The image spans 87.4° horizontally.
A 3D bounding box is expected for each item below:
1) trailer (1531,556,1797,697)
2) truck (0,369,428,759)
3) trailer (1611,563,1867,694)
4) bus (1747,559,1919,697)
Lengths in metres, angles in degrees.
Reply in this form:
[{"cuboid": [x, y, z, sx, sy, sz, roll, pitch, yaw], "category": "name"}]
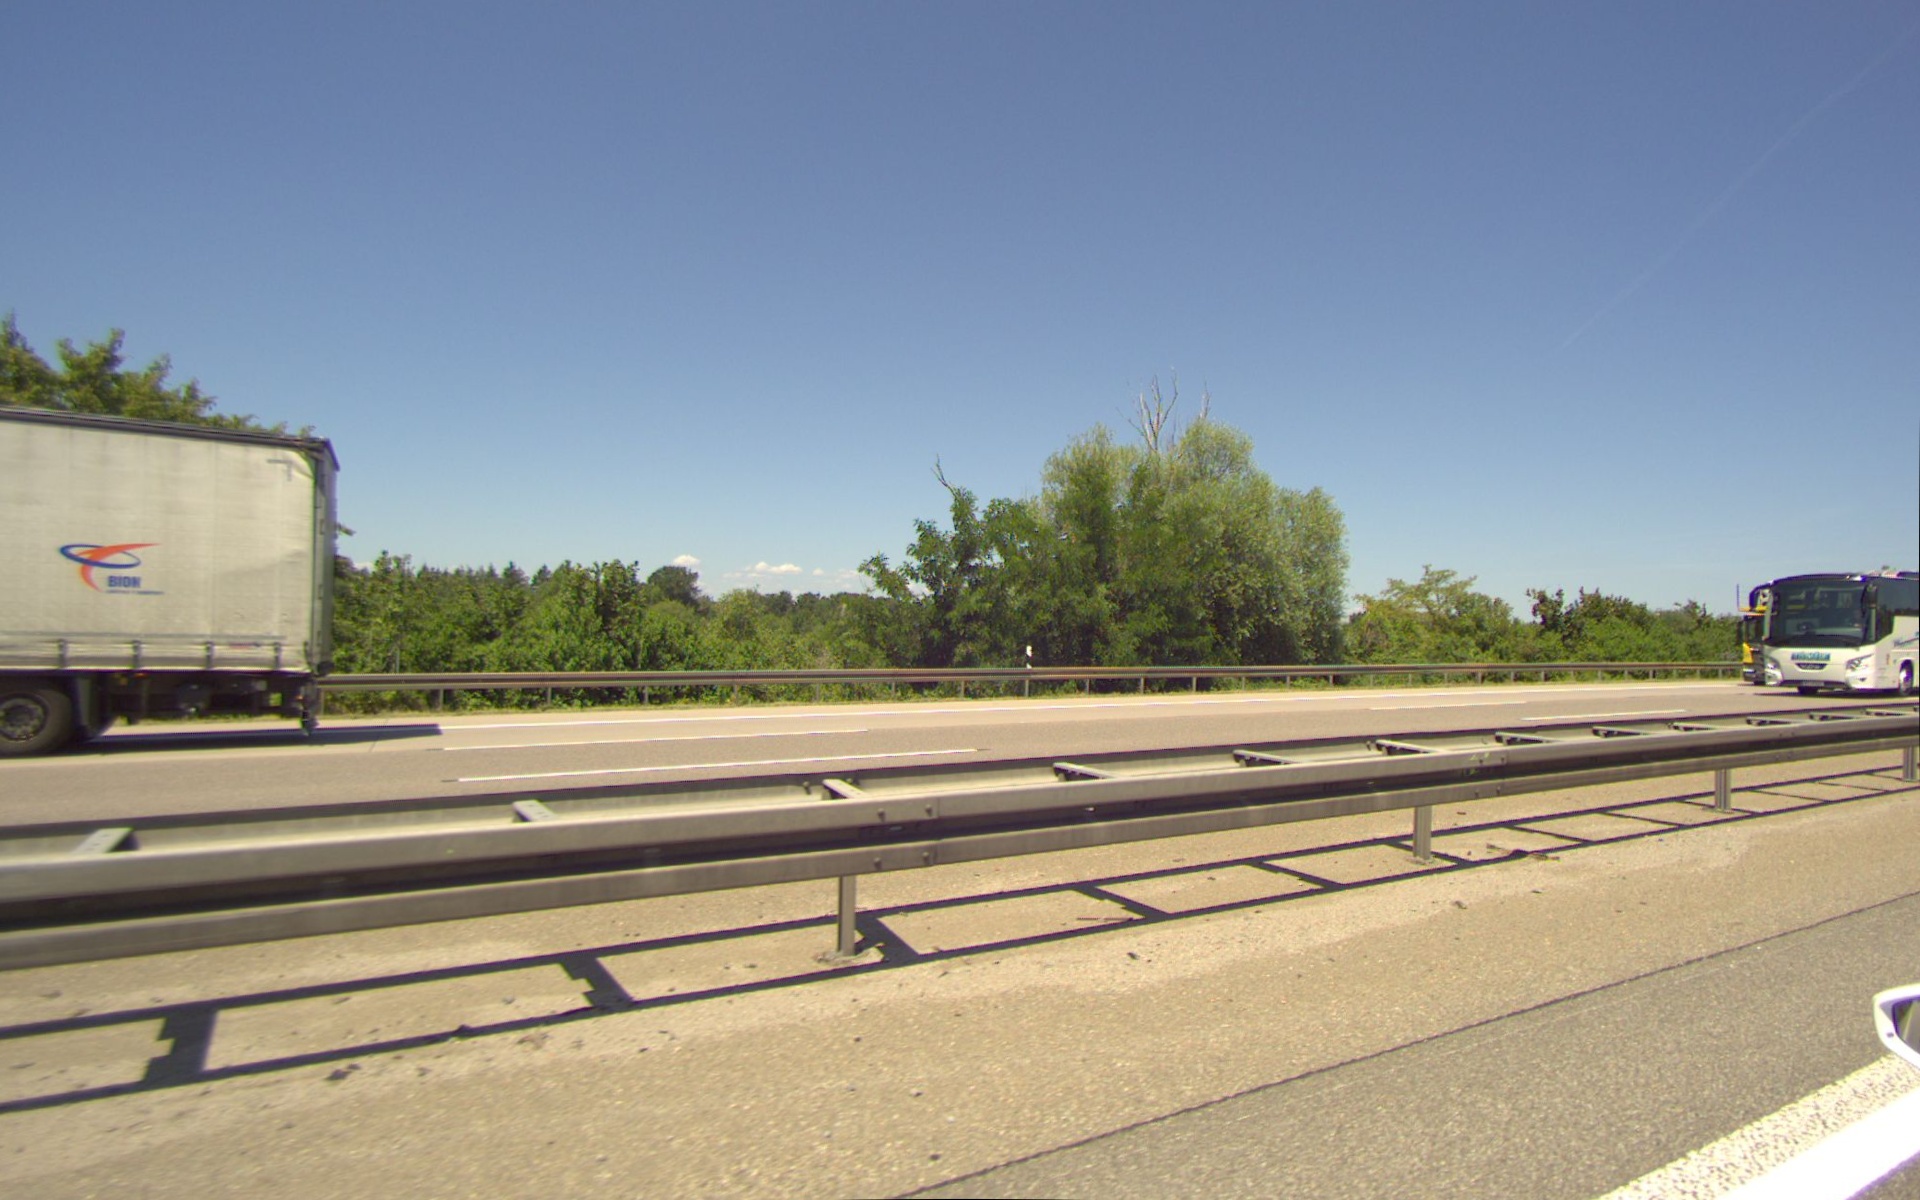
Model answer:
[{"cuboid": [22.932, 0.942, 32.489, 10.412, 4.019, 2.908, 2, -3, -30], "category": "trailer"}, {"cuboid": [-15.335, -0.478, 10.360, 17.265, 4.398, 2.942, 2, -3, -30], "category": "truck"}, {"cuboid": [27.442, 1.079, 35.143, 11.513, 4.019, 2.908, 2, -3, -30], "category": "trailer"}, {"cuboid": [28.809, 0.946, 30.873, 12.641, 3.630, 2.682, 2, -3, -30], "category": "bus"}]
